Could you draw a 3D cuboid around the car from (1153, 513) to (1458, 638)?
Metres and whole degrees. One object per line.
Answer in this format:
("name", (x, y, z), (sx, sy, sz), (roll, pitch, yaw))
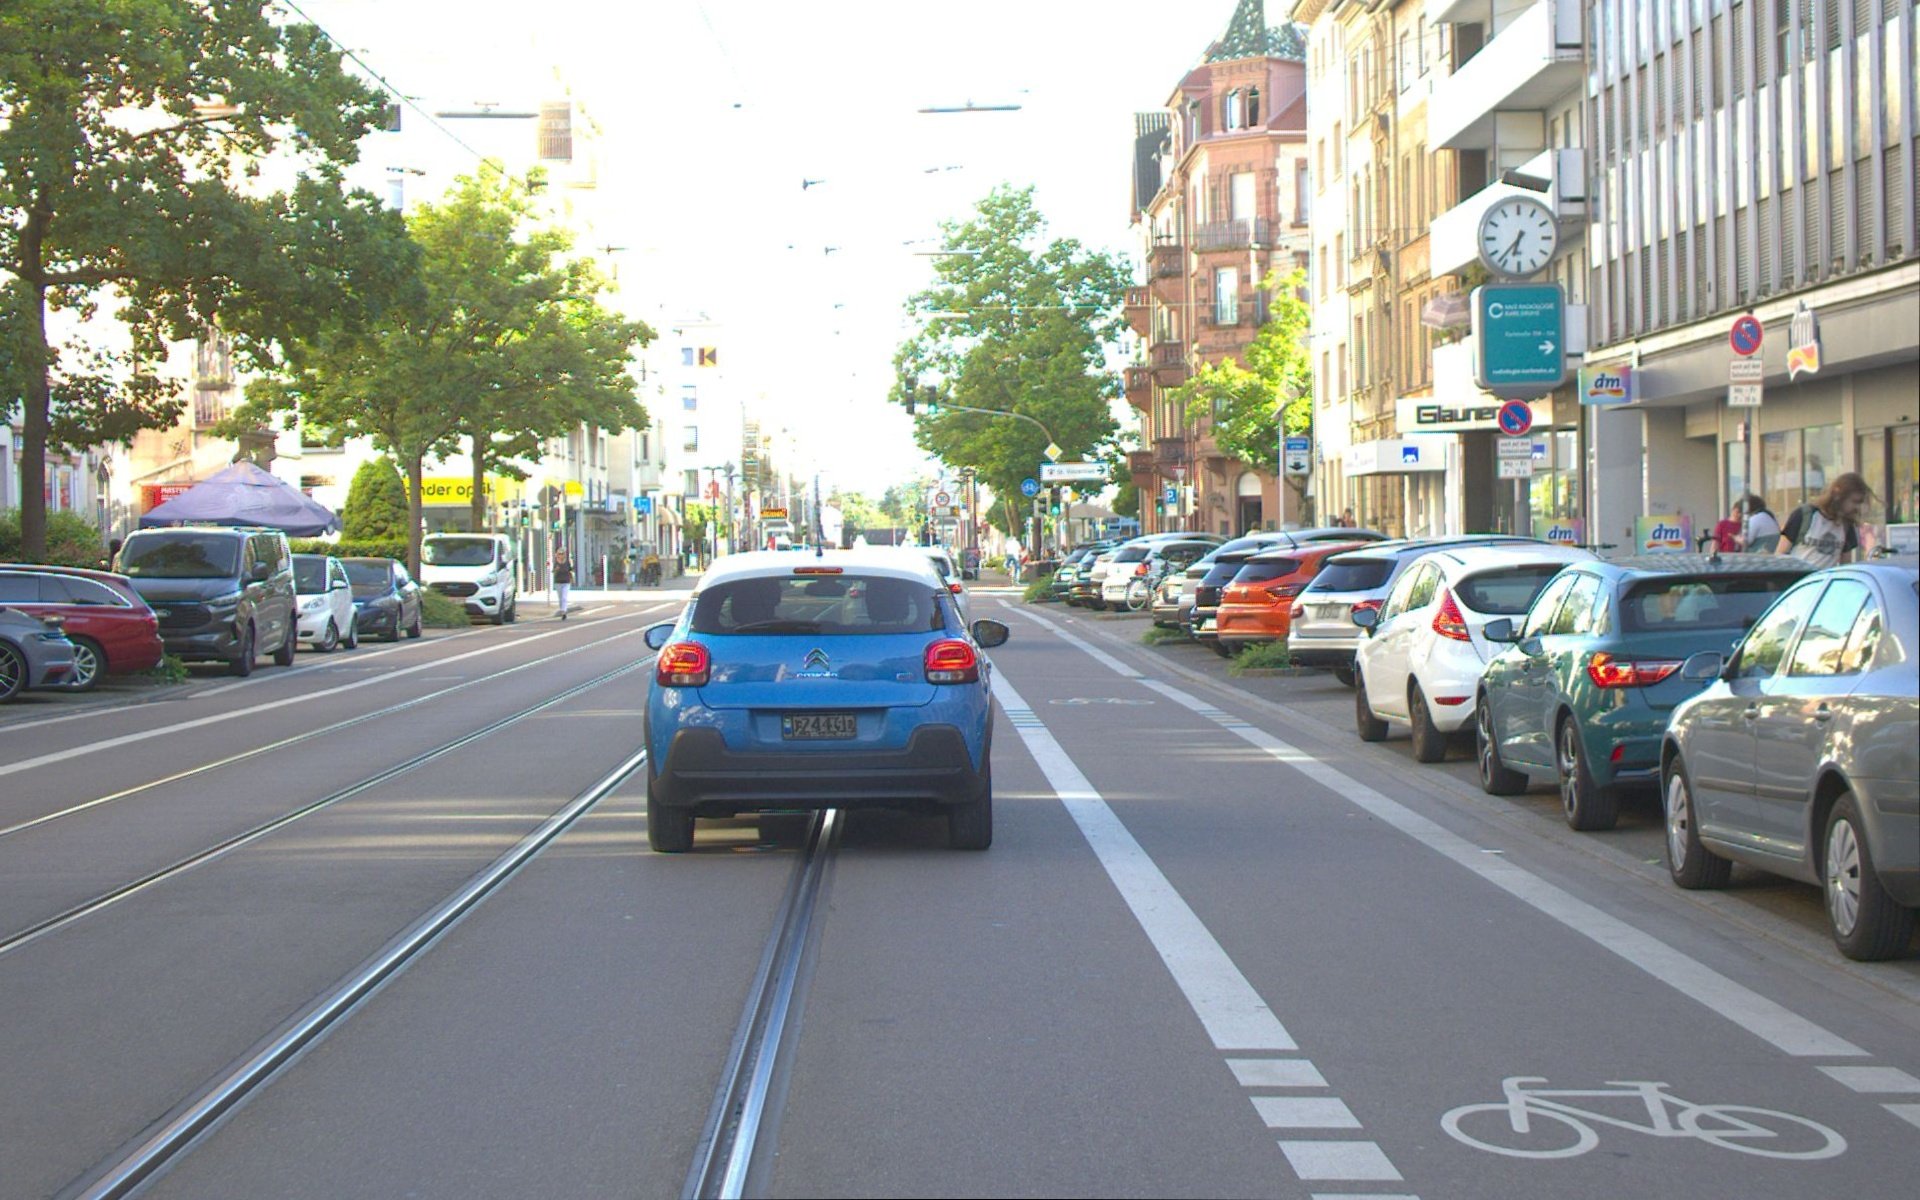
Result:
("car", (4.770, -0.353, 47.321), (3.719, 1.646, 2.047), (-1, 1, -33))

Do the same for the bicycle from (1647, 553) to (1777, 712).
("bicycle", (5.736, 0.236, 26.267), (0.693, 1.181, 1.239), (0, 1, -1))

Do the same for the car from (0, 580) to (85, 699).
("car", (-11.508, 0.434, 37.034), (3.796, 1.261, 1.516), (-1, 1, -26))

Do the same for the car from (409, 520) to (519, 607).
("car", (-10.792, -0.801, 75.083), (1.831, 1.841, 4.214), (0, 1, -1))

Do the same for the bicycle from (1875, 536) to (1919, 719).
("bicycle", (7.284, 0.176, 23.238), (2.019, 1.217, 0.664), (0, 1, -1))

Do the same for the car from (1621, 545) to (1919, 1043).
("car", (3.971, 0.588, 13.328), (1.873, 1.590, 4.719), (0, 1, 0))

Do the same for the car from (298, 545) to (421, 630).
("car", (-10.760, -0.240, 61.793), (1.747, 1.481, 4.043), (0, 1, -4))

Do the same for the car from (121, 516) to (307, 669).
("car", (-10.166, -0.129, 47.193), (1.747, 1.967, 5.241), (0, 1, -4))

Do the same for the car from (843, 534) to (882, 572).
("car", (-3.661, -1.771, 129.653), (1.423, 1.427, 3.139), (0, 1, 0))

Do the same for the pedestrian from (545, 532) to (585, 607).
("pedestrian", (-9.007, -0.696, 78.362), (0.729, 1.720, 0.628), (0, 1, -25))

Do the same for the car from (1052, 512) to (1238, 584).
("car", (4.078, -1.150, 75.993), (3.653, 1.568, 1.861), (0, 1, -20))

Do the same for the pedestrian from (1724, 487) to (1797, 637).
("pedestrian", (9.446, -0.445, 40.561), (0.692, 1.750, 0.678), (0, 1, -1))

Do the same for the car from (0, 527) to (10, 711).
("car", (-11.549, 0.199, 33.823), (3.986, 1.810, 1.713), (-1, 1, -26))

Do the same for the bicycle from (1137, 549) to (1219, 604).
("bicycle", (4.173, -0.449, 65.878), (0.553, 1.044, 1.807), (-1, 1, -36))

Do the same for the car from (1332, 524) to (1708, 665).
("car", (6.178, -0.088, 37.886), (3.774, 1.482, 1.838), (-1, 1, -30))

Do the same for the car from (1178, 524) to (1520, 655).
("car", (4.727, -0.147, 41.701), (3.719, 1.515, 1.968), (-1, 1, -33))

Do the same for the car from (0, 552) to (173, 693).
("car", (-11.240, 0.250, 40.232), (3.722, 1.617, 1.789), (0, 1, -22))

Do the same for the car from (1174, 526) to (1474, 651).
("car", (4.691, -0.164, 44.200), (3.441, 1.550, 1.824), (-1, 1, -32))

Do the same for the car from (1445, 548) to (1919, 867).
("car", (3.948, 0.514, 19.223), (1.873, 1.590, 4.000), (0, 1, 0))

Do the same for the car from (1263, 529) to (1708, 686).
("car", (5.313, 0.042, 34.591), (4.439, 1.503, 1.536), (-1, 1, -30))

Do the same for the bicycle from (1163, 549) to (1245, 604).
("bicycle", (4.696, -0.460, 66.238), (0.553, 1.044, 1.807), (-1, 1, -36))

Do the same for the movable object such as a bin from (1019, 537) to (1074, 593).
("movable object such as a bin", (2.300, -0.926, 91.873), (1.394, 1.478, 1.655), (0, 1, -1))

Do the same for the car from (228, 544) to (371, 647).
("car", (-10.744, -0.095, 56.167), (1.747, 1.612, 4.411), (0, 1, -4))

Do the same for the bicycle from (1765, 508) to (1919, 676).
("bicycle", (7.175, -0.065, 25.279), (2.358, 1.217, 0.664), (0, 1, 3))

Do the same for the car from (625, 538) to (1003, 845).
("car", (-0.718, 0.407, 17.893), (1.762, 1.436, 3.557), (0, 1, -1))

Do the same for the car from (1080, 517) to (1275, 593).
("car", (4.567, -0.959, 72.421), (3.653, 1.568, 1.861), (0, 1, -20))

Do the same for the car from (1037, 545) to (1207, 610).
("car", (3.888, -0.540, 82.581), (3.653, 1.529, 1.789), (0, 1, -20))

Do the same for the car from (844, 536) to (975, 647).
("car", (-0.744, -0.143, 51.426), (1.873, 1.590, 4.000), (0, 1, 0))

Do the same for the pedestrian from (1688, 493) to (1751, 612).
("pedestrian", (10.150, -0.634, 45.963), (0.692, 1.582, 0.678), (0, 1, -1))

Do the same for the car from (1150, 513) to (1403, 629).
("car", (4.625, -0.428, 50.089), (3.442, 1.634, 1.684), (-1, 1, -37))

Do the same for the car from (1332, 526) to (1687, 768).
("car", (3.841, 0.286, 24.674), (1.873, 1.590, 4.000), (0, 1, 0))

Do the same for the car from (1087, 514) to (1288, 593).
("car", (4.621, -0.945, 69.906), (3.654, 1.568, 1.861), (-1, 1, -29))

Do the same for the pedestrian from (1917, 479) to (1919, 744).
("pedestrian", (6.158, 0.071, 20.494), (0.712, 1.601, 0.654), (0, 1, -1))

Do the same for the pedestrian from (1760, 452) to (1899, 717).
("pedestrian", (5.541, -0.100, 21.933), (0.712, 1.666, 0.654), (0, 1, -1))
